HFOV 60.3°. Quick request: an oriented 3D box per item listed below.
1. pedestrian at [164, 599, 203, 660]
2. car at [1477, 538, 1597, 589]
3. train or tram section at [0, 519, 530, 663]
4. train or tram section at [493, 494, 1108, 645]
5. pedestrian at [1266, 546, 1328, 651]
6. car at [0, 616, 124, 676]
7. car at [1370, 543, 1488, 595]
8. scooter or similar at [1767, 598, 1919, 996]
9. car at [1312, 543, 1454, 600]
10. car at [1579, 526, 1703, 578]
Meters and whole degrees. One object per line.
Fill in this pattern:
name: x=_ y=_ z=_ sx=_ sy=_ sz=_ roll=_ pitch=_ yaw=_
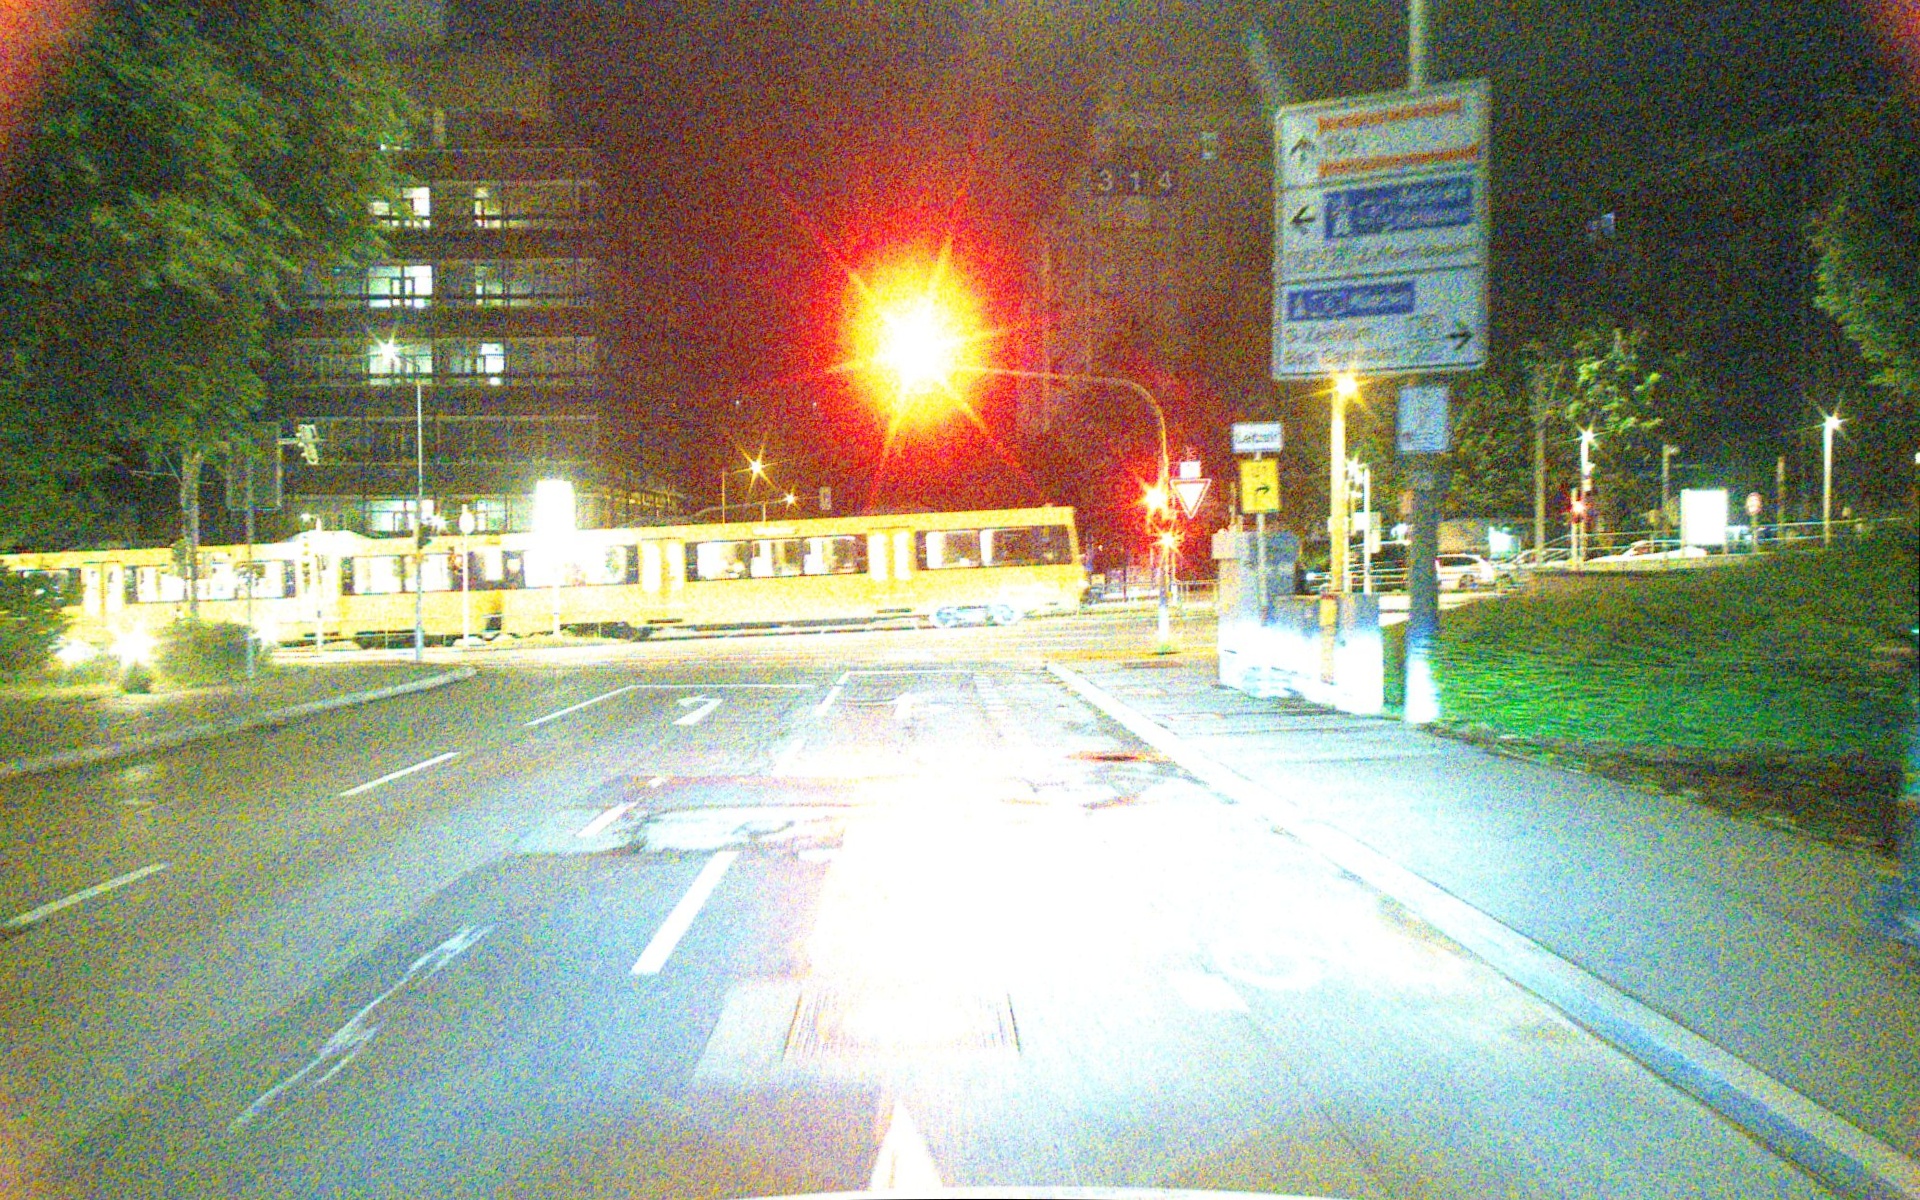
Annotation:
pedestrian: x=-23.271 y=0.877 z=49.561 sx=0.749 sy=1.767 sz=0.659 roll=-3 pitch=1 yaw=-1
car: x=20.668 y=-1.308 z=59.343 sx=3.685 sy=1.553 sz=1.760 roll=-4 pitch=1 yaw=7
train or tram section: x=-23.833 y=-0.223 z=53.086 sx=19.377 sy=3.929 sz=2.942 roll=-2 pitch=0 yaw=4
train or tram section: x=-4.863 y=-0.917 z=51.752 sx=18.771 sy=3.890 sz=2.925 roll=-2 pitch=0 yaw=4
pedestrian: x=5.825 y=-0.022 z=28.633 sx=0.881 sy=1.742 sz=0.775 roll=-3 pitch=0 yaw=4
car: x=-24.793 y=1.238 z=44.429 sx=3.683 sy=1.506 sz=1.910 roll=-2 pitch=0 yaw=6
car: x=17.765 y=-1.174 z=62.766 sx=3.972 sy=1.643 sz=1.870 roll=-4 pitch=1 yaw=7
scooter or similar: x=3.395 y=0.658 z=5.733 sx=0.484 sy=1.283 sz=1.320 roll=-3 pitch=1 yaw=0
car: x=14.994 y=-1.015 z=58.773 sx=4.517 sy=1.668 sz=2.001 roll=-4 pitch=1 yaw=4
car: x=25.670 y=-1.810 z=62.478 sx=3.903 sy=1.601 sz=1.887 roll=-5 pitch=0 yaw=9
